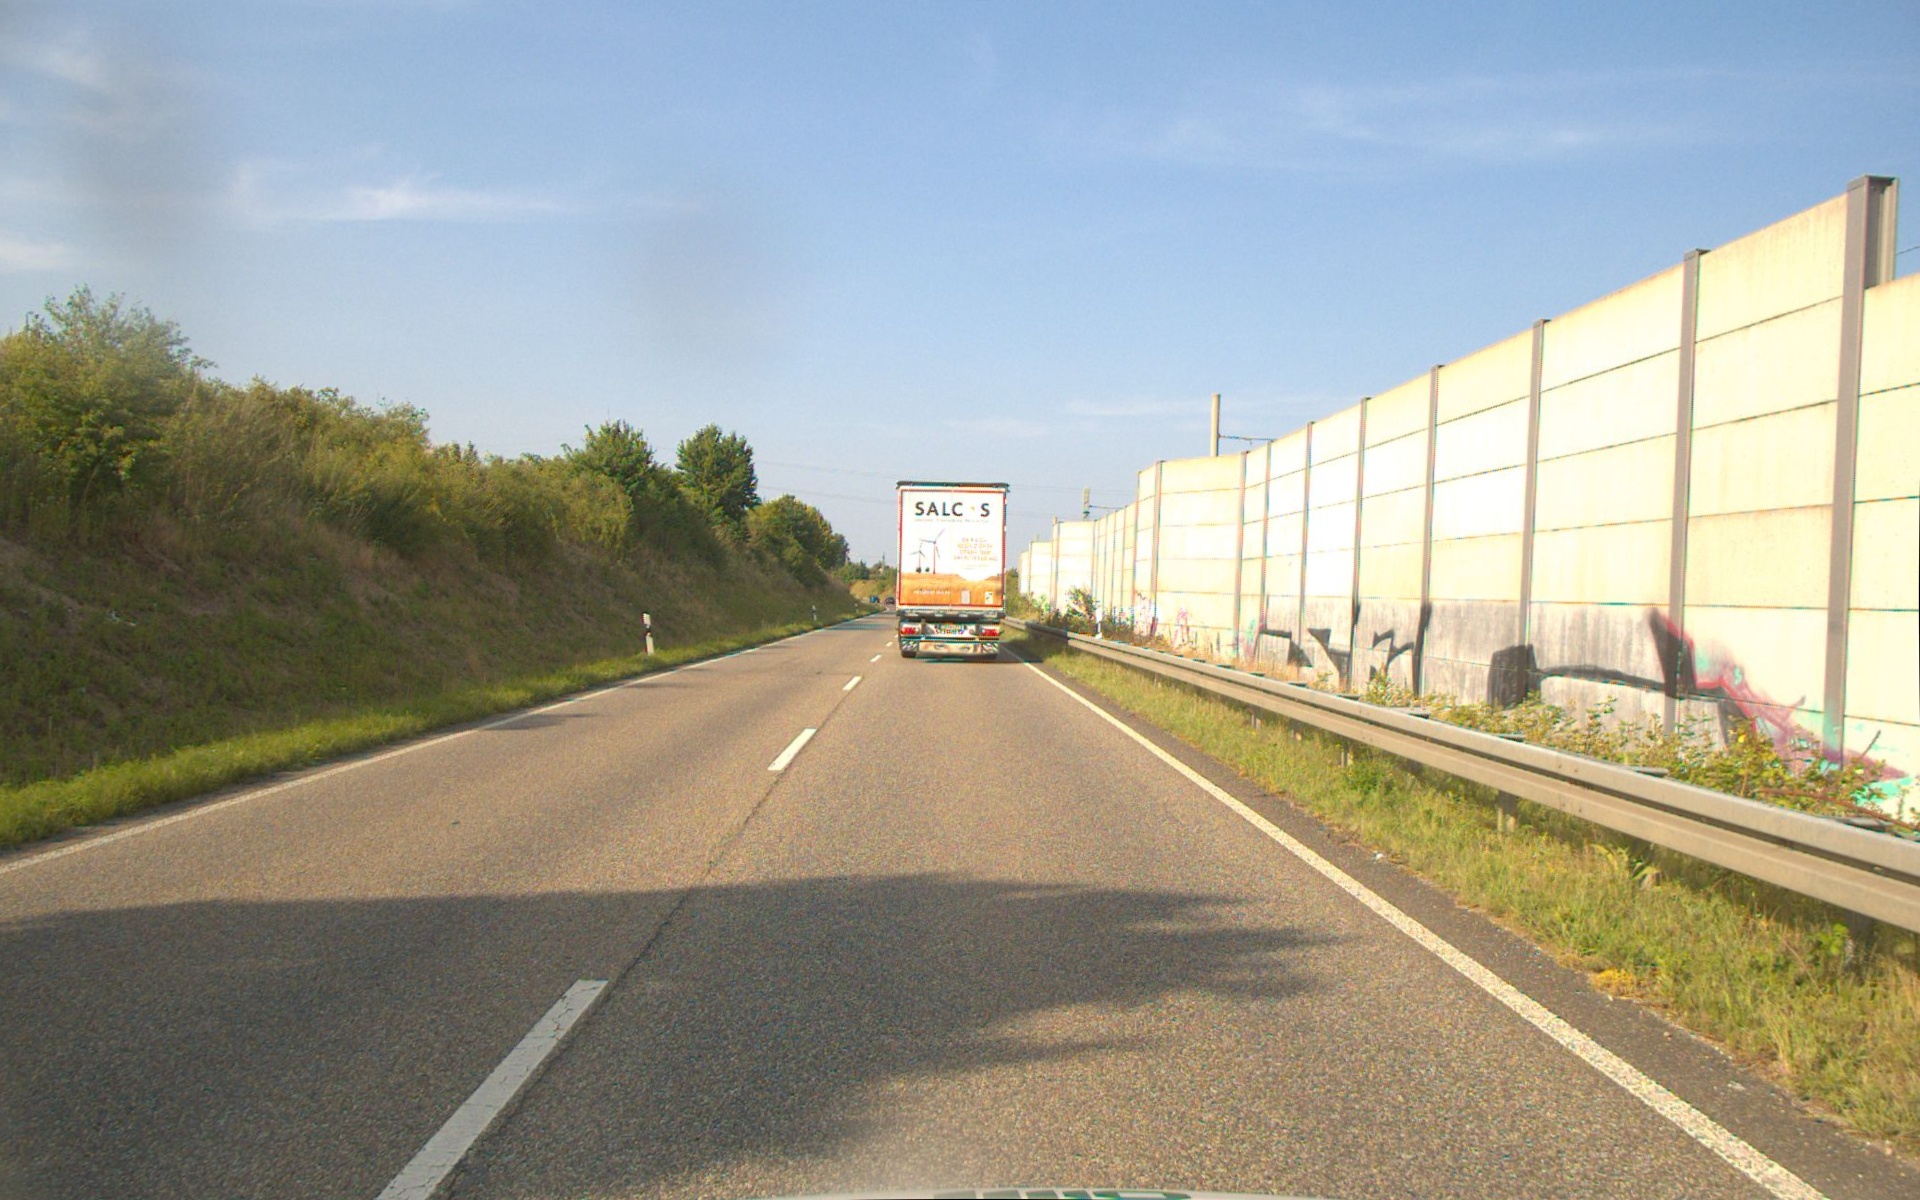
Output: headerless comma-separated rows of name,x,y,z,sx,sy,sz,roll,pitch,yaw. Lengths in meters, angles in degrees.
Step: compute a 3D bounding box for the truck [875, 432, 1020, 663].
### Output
truck,-0.551,-1.251,43.575,3.225,5.179,12.031,1,1,-3
